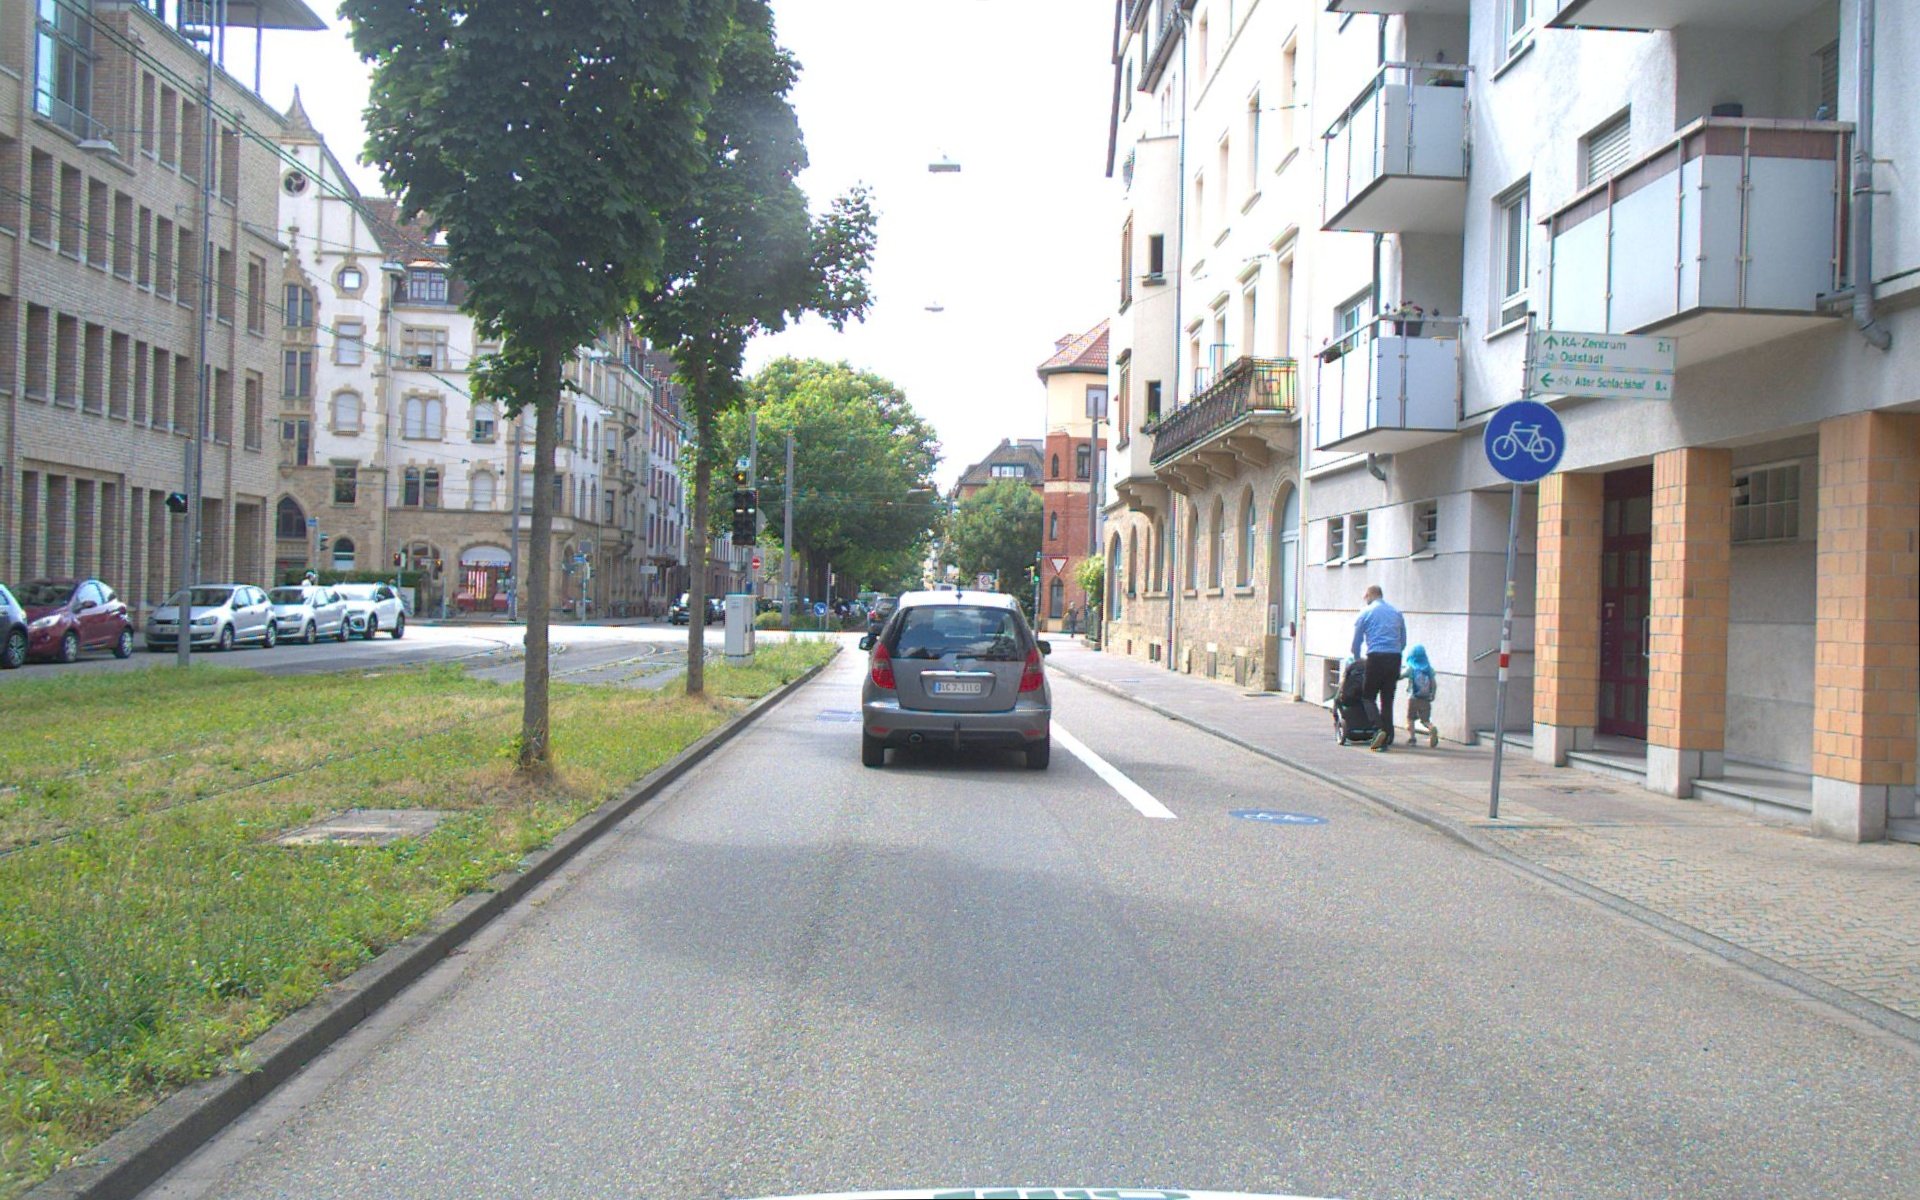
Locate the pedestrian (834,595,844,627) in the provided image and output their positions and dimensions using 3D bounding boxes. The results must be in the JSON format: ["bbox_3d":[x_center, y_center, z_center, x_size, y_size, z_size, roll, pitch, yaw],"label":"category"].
[{"bbox_3d":[-6.864,0.627,93.486,0.483,1.755,0.653,2,0,-7],"label":"pedestrian"}]

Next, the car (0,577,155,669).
[{"bbox_3d":[-16.321,0.388,30.137,1.550,1.557,3.549,1,0,-1],"label":"car"}]

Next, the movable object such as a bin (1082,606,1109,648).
[{"bbox_3d":[4.847,0.958,59.235,0.701,1.497,0.980,1,-1,-10],"label":"movable object such as a bin"}]

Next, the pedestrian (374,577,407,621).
[{"bbox_3d":[-23.324,-0.028,67.753,0.763,1.752,1.017,1,-1,44],"label":"pedestrian"}]

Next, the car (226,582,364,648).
[{"bbox_3d":[-16.829,0.357,42.076,1.893,1.557,4.013,1,0,-1],"label":"car"}]

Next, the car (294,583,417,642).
[{"bbox_3d":[-16.933,0.337,46.566,1.893,1.562,4.257,1,0,-1],"label":"car"}]

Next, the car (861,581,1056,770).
[{"bbox_3d":[-0.034,0.667,16.256,1.687,1.634,3.676,1,0,-1],"label":"car"}]

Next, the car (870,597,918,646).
[{"bbox_3d":[-2.422,0.787,61.461,1.687,1.736,3.676,1,0,-1],"label":"car"}]

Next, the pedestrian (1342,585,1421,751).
[{"bbox_3d":[4.621,0.733,18.174,0.608,1.769,0.877,-1,0,-1],"label":"pedestrian"}]

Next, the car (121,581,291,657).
[{"bbox_3d":[-16.532,0.398,36.490,1.813,1.557,4.209,1,0,-1],"label":"car"}]

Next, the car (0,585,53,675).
[{"bbox_3d":[-16.148,0.450,25.574,1.893,1.420,4.238,1,0,-1],"label":"car"}]

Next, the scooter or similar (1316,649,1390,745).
[{"bbox_3d":[4.514,1.101,19.028,0.580,1.019,0.905,-3,0,-1],"label":"scooter or similar"}]

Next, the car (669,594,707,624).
[{"bbox_3d":[-15.612,0.506,95.213,1.955,1.646,3.994,1,0,-7],"label":"car"}]

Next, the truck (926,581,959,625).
[{"bbox_3d":[-1.211,0.194,116.481,2.079,3.022,4.001,1,0,2],"label":"truck"}]

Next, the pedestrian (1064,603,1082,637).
[{"bbox_3d":[5.674,1.016,82.968,0.851,1.685,0.736,1,0,3],"label":"pedestrian"}]

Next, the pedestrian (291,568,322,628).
[{"bbox_3d":[-20.375,-0.068,51.562,0.751,1.827,0.952,2,-1,-27],"label":"pedestrian"}]

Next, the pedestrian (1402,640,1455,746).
[{"bbox_3d":[5.205,1.025,18.375,0.447,1.155,0.494,0,0,-1],"label":"pedestrian"}]

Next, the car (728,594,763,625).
[{"bbox_3d":[-12.557,0.579,96.795,1.955,1.758,3.994,1,0,-7],"label":"car"}]

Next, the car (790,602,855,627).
[{"bbox_3d":[-8.178,0.874,98.205,1.956,1.362,3.941,2,0,-41],"label":"car"}]
